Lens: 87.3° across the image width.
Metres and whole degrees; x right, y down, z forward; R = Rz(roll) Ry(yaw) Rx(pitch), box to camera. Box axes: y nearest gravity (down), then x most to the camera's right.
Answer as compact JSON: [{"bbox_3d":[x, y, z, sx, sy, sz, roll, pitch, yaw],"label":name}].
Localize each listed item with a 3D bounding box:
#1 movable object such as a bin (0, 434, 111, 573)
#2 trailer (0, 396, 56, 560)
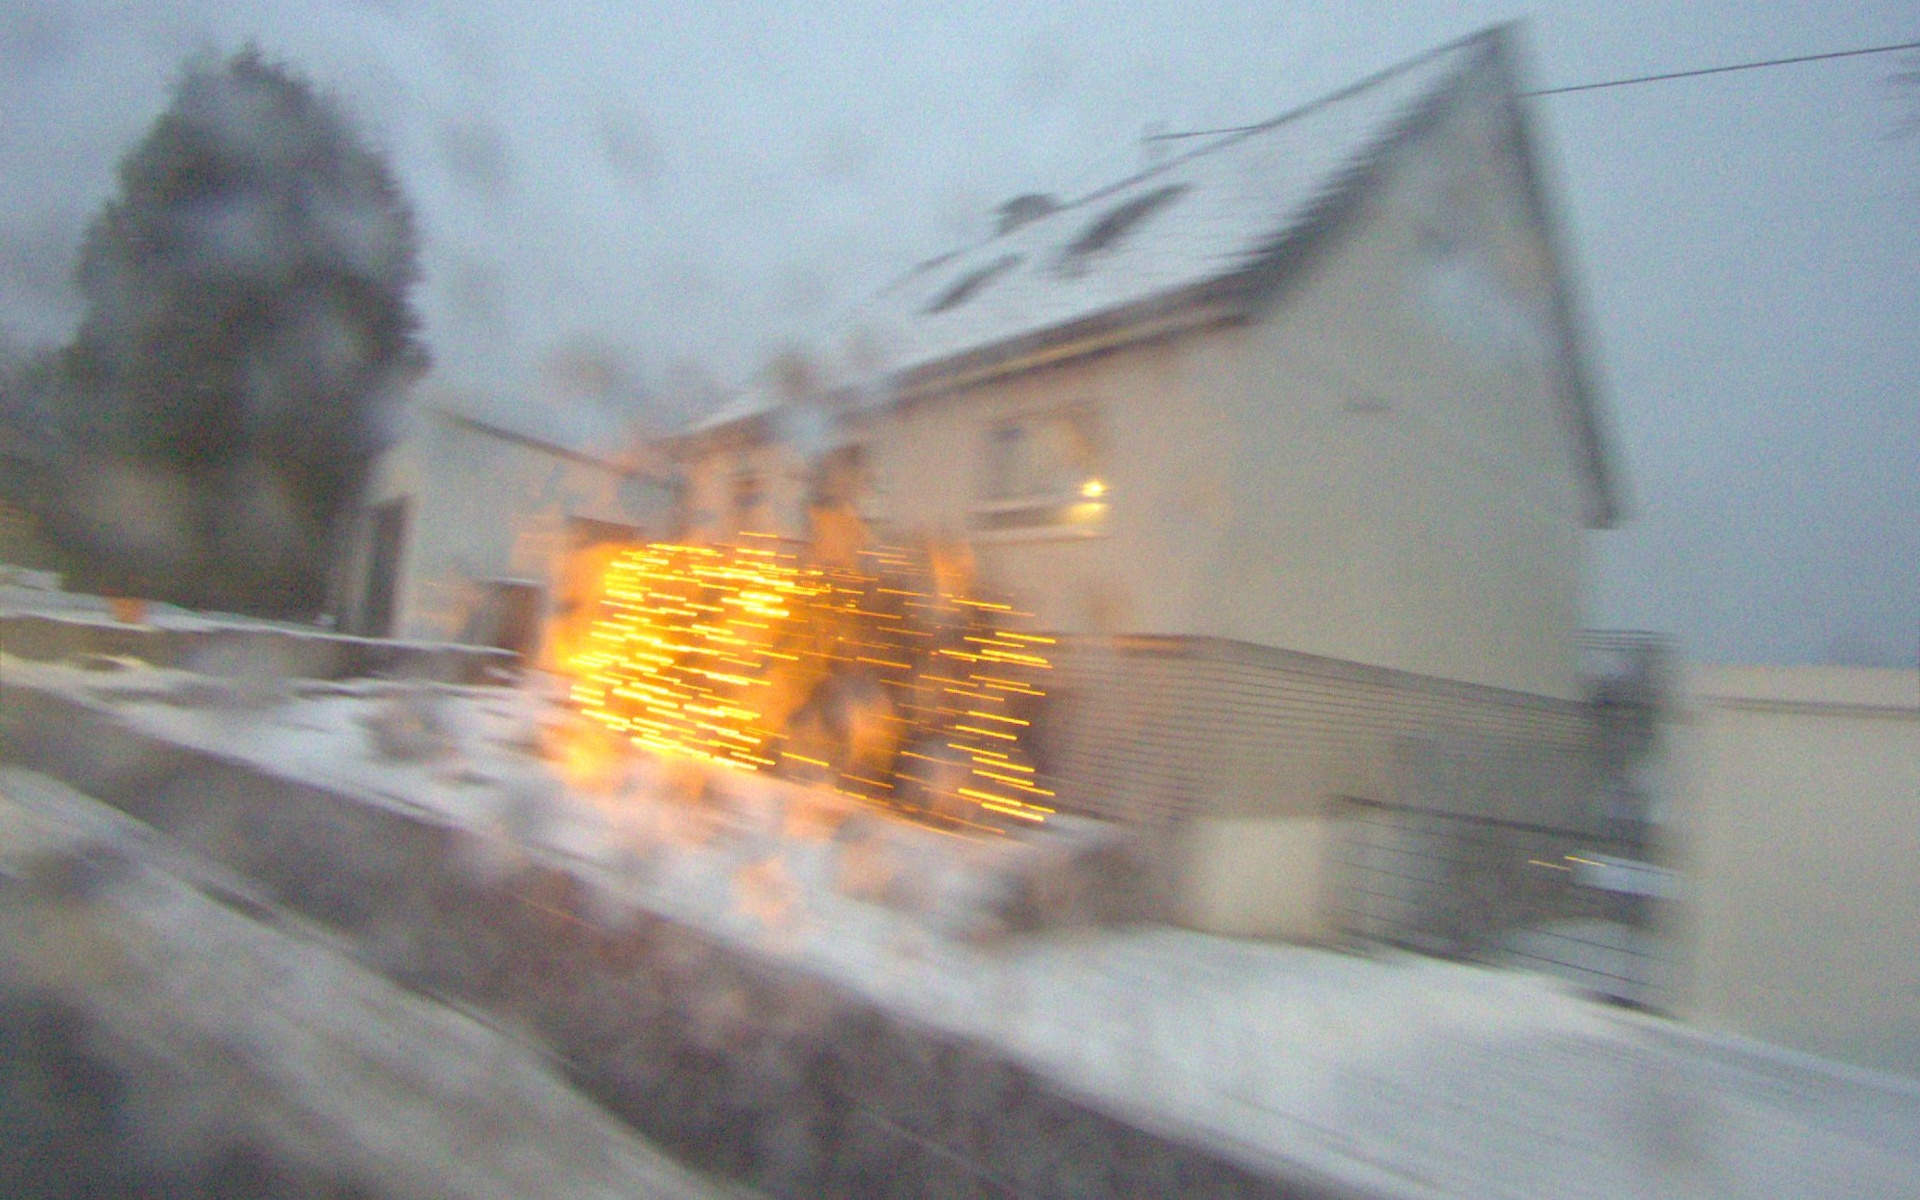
[{"bbox_3d":[-20.494,-2.130,21.279,4.441,2.496,2.392,6,-3,32],"label":"movable object such as a bin"},{"bbox_3d":[-24.380,-3.125,23.463,4.972,3.600,2.885,6,-2,25],"label":"trailer"}]
